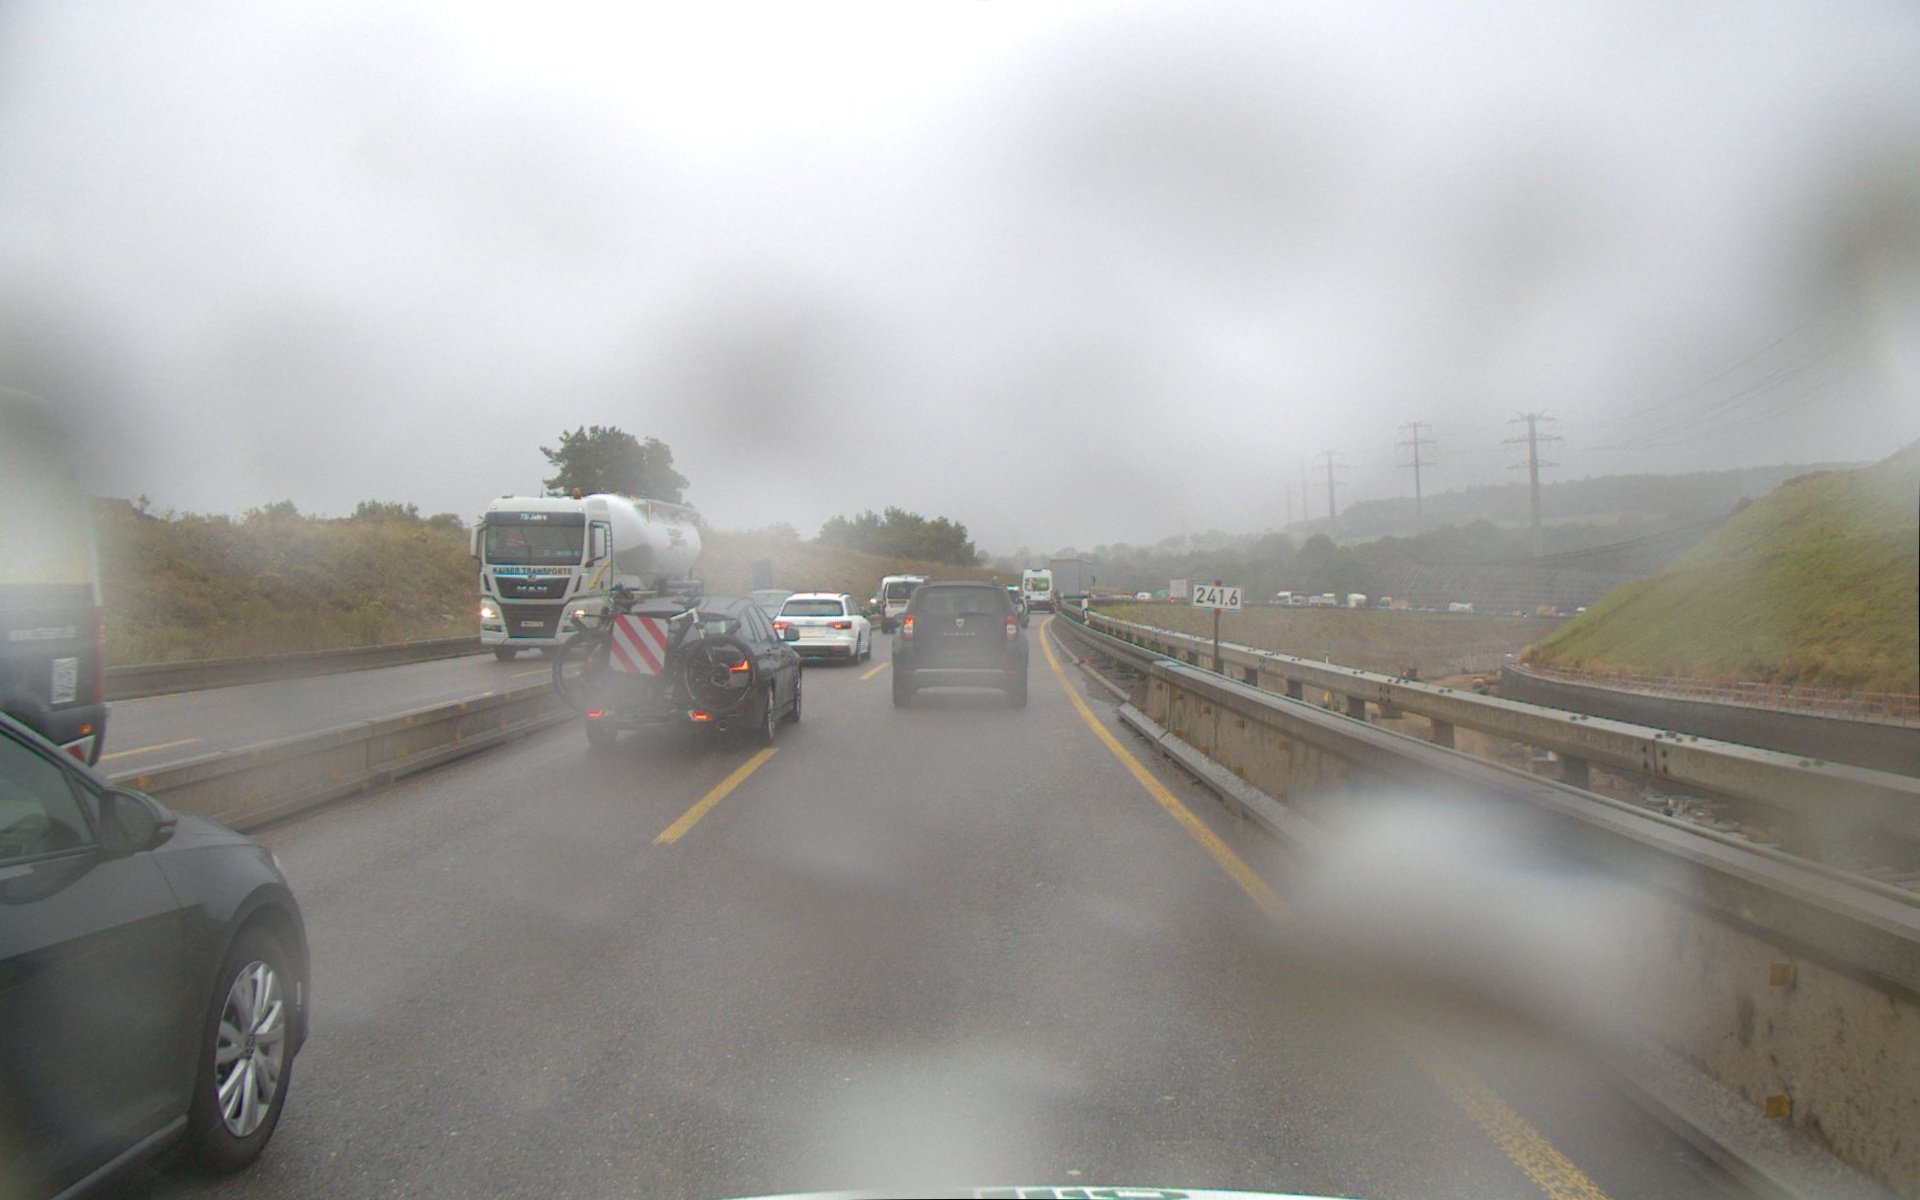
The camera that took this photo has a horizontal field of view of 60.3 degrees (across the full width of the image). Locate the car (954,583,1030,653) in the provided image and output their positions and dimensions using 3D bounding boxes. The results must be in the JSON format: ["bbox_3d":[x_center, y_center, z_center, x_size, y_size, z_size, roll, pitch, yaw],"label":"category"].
[{"bbox_3d":[0.793,0.439,42.954,1.829,1.738,4.000,1,0,-1],"label":"car"}]

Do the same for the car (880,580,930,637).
[{"bbox_3d":[-1.891,0.270,57.992,1.626,1.913,4.019,1,0,-1],"label":"car"}]

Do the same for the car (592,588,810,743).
[{"bbox_3d":[-2.711,0.646,18.101,1.791,1.502,3.776,0,0,0],"label":"car"}]

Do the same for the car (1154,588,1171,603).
[{"bbox_3d":[25.602,-0.576,208.971,1.737,1.949,4.003,1,0,12],"label":"car"}]

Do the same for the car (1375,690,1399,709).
[{"bbox_3d":[50.995,11.897,197.652,2.315,2.049,4.003,1,0,8],"label":"car"}]

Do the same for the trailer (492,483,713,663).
[{"bbox_3d":[-8.966,-0.615,43.257,3.188,4.033,11.537,-1,0,0],"label":"trailer"}]

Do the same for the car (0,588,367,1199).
[{"bbox_3d":[-2.507,0.770,2.691,1.581,1.532,4.366,-2,0,-2],"label":"car"}]

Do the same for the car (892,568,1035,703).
[{"bbox_3d":[0.123,0.444,22.518,1.767,1.674,3.777,0,0,3],"label":"car"}]

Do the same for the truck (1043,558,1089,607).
[{"bbox_3d":[8.724,-1.366,134.996,3.132,3.827,8.516,1,0,8],"label":"truck"}]

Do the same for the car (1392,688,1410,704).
[{"bbox_3d":[56.815,12.408,213.188,1.951,1.847,4.003,0,0,10],"label":"car"}]

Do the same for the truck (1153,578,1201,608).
[{"bbox_3d":[32.242,-0.963,244.648,4.618,4.222,15.692,1,0,16],"label":"truck"}]

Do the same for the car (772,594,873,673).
[{"bbox_3d":[-2.763,0.632,34.017,1.830,1.486,4.547,1,0,-2],"label":"car"}]

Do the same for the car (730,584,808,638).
[{"bbox_3d":[-5.595,0.300,49.004,1.766,1.464,4.950,-2,0,-1],"label":"car"}]

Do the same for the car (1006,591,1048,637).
[{"bbox_3d":[2.527,0.504,62.795,1.499,1.669,4.014,1,0,2],"label":"car"}]

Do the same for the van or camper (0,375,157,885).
[{"bbox_3d":[-6.101,0.149,7.377,2.232,2.659,5.827,1,0,-1],"label":"van or camper"}]

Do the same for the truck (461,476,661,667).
[{"bbox_3d":[-8.982,-0.601,37.975,3.165,4.025,5.881,-1,0,0],"label":"truck"}]

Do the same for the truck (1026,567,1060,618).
[{"bbox_3d":[5.429,-0.473,108.321,2.104,3.221,6.461,1,0,2],"label":"truck"}]
